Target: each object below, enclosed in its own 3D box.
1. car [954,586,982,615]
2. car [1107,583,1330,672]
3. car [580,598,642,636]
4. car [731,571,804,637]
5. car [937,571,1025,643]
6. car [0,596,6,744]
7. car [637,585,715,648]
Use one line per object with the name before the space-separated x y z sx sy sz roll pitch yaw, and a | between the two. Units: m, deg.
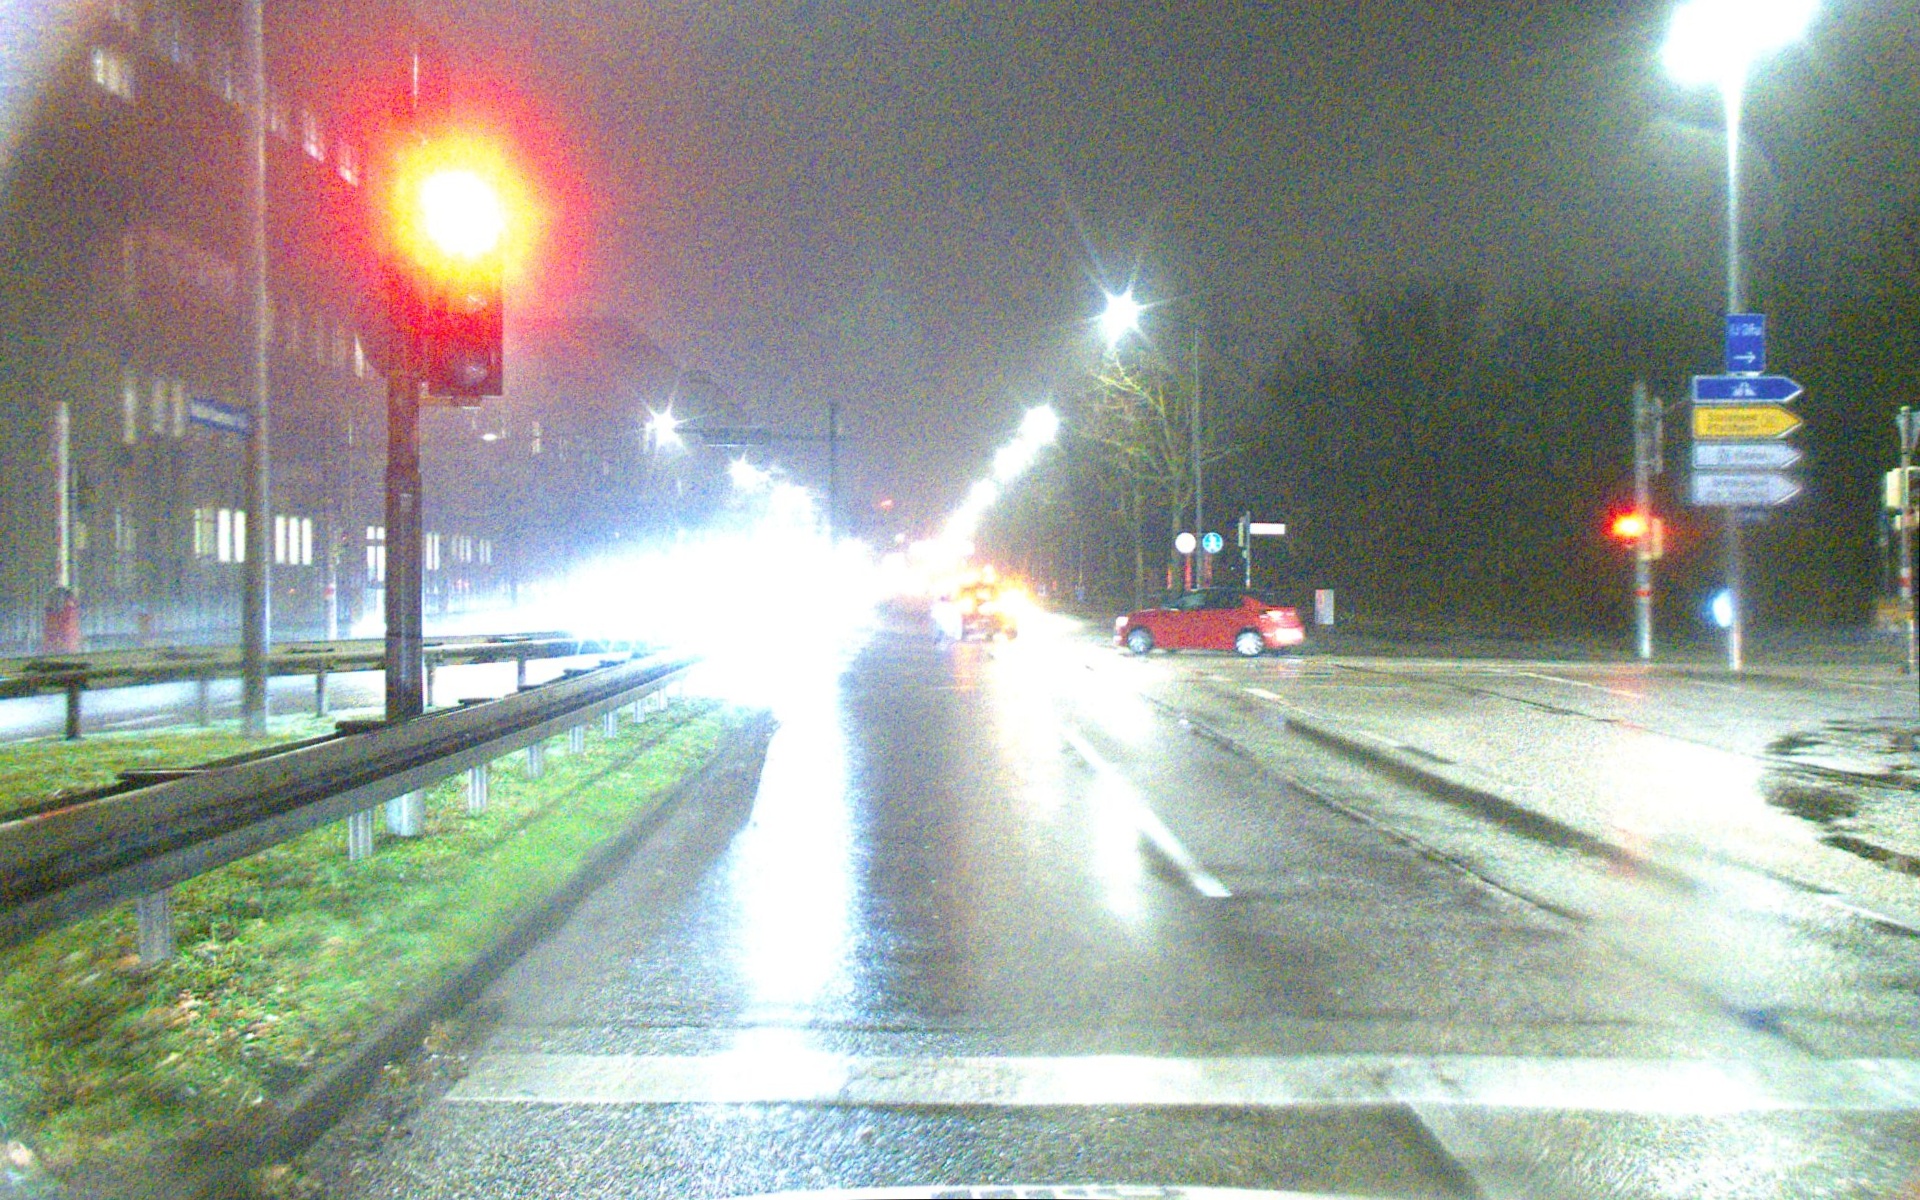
car | 0.633 0.059 134.317 2.163 2.253 3.642 0 -1 -1
car | 5.469 0.549 35.068 4.257 1.785 1.981 0 -1 30
car | -15.166 0.741 72.088 1.809 1.618 4.351 0 0 -1
car | -6.207 0.127 53.788 1.953 2.049 3.999 -1 0 -1
car | 0.529 0.205 45.117 1.653 1.870 3.417 0 -1 -13
car | -11.199 0.756 15.776 1.734 1.597 4.330 -1 0 -1
car | -8.743 0.490 51.180 1.746 1.847 3.999 -1 0 -1
